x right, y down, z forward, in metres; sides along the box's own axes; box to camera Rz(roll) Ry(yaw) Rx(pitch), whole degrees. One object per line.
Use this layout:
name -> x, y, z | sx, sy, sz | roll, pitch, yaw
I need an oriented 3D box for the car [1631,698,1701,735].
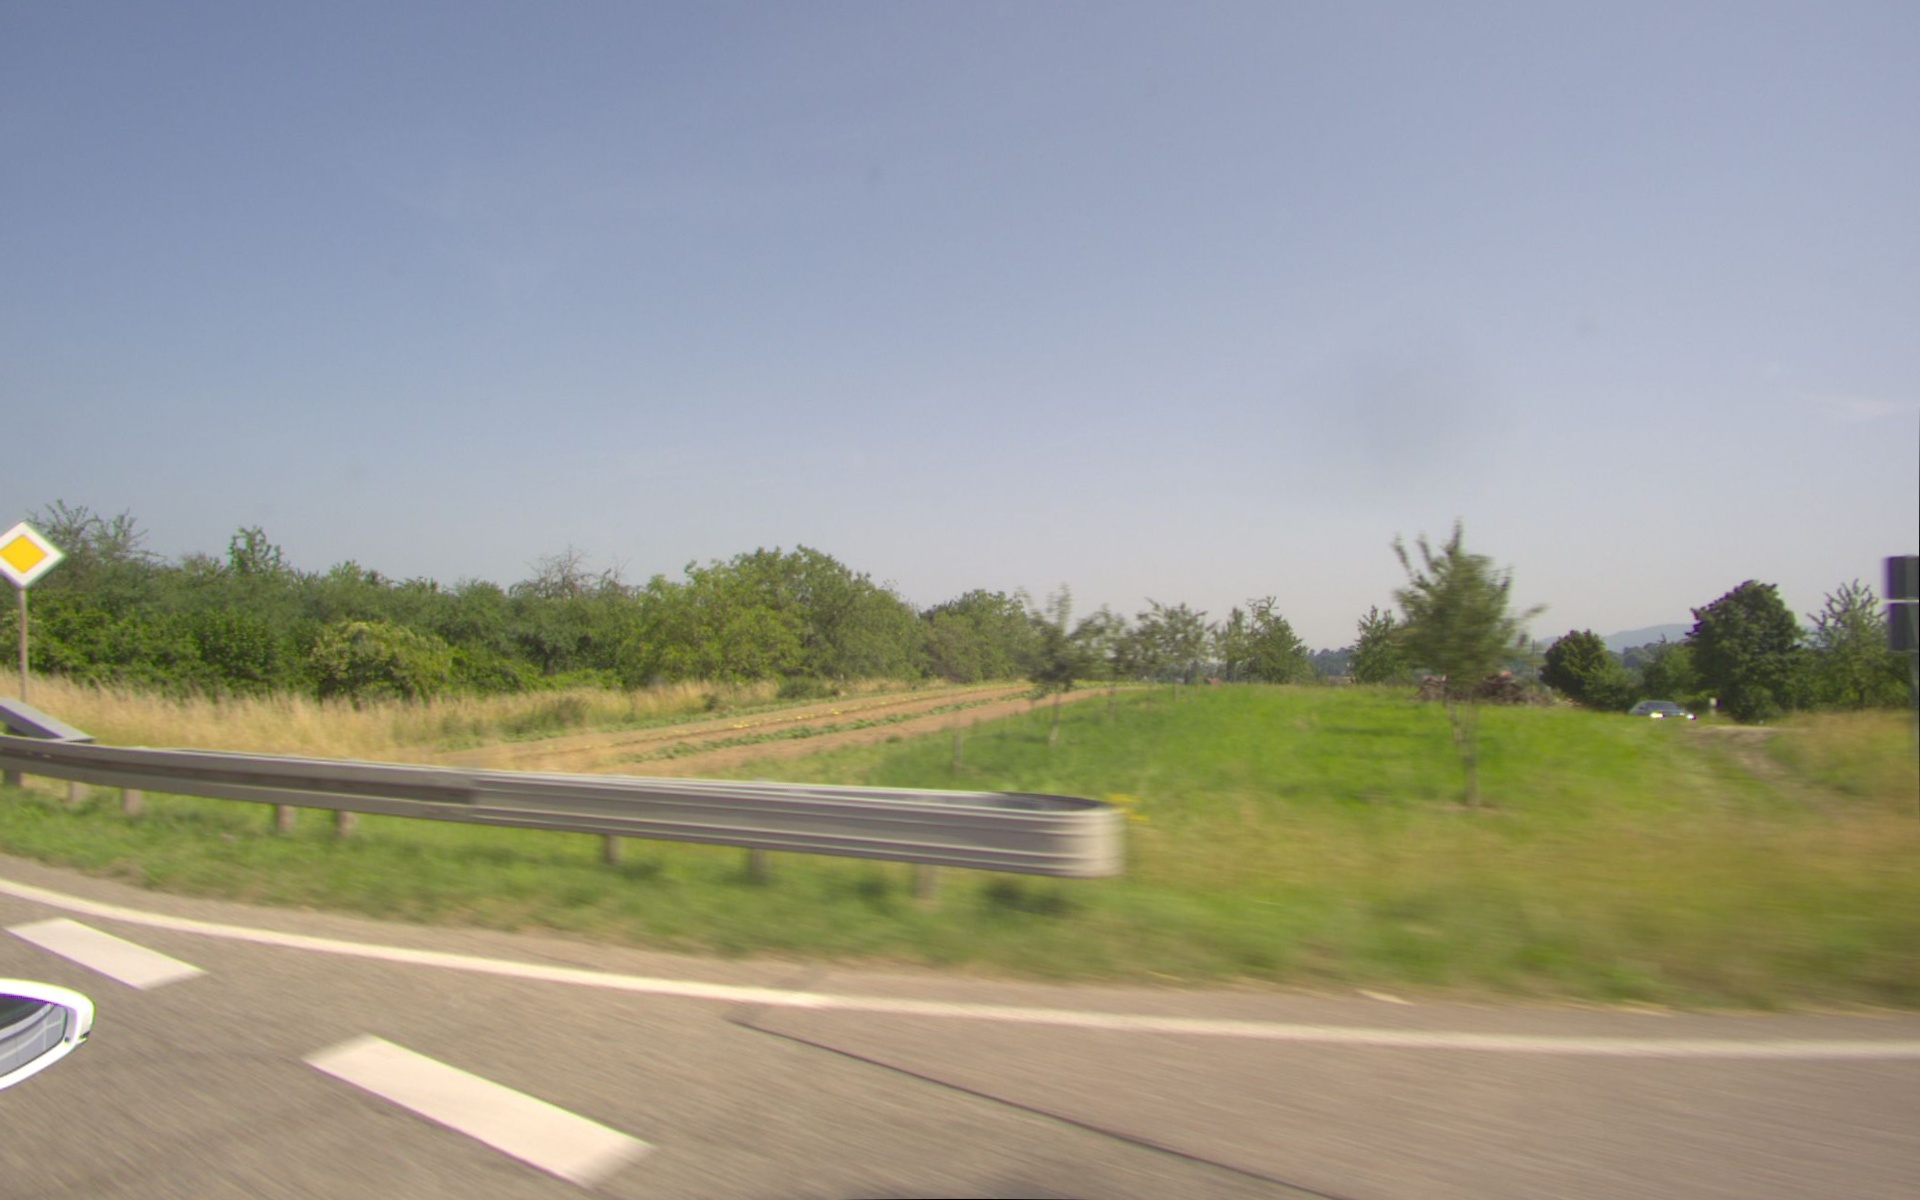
car -> 38.582, 6.323, 54.849 | 1.966, 1.717, 4.667 | -3, -3, 21
